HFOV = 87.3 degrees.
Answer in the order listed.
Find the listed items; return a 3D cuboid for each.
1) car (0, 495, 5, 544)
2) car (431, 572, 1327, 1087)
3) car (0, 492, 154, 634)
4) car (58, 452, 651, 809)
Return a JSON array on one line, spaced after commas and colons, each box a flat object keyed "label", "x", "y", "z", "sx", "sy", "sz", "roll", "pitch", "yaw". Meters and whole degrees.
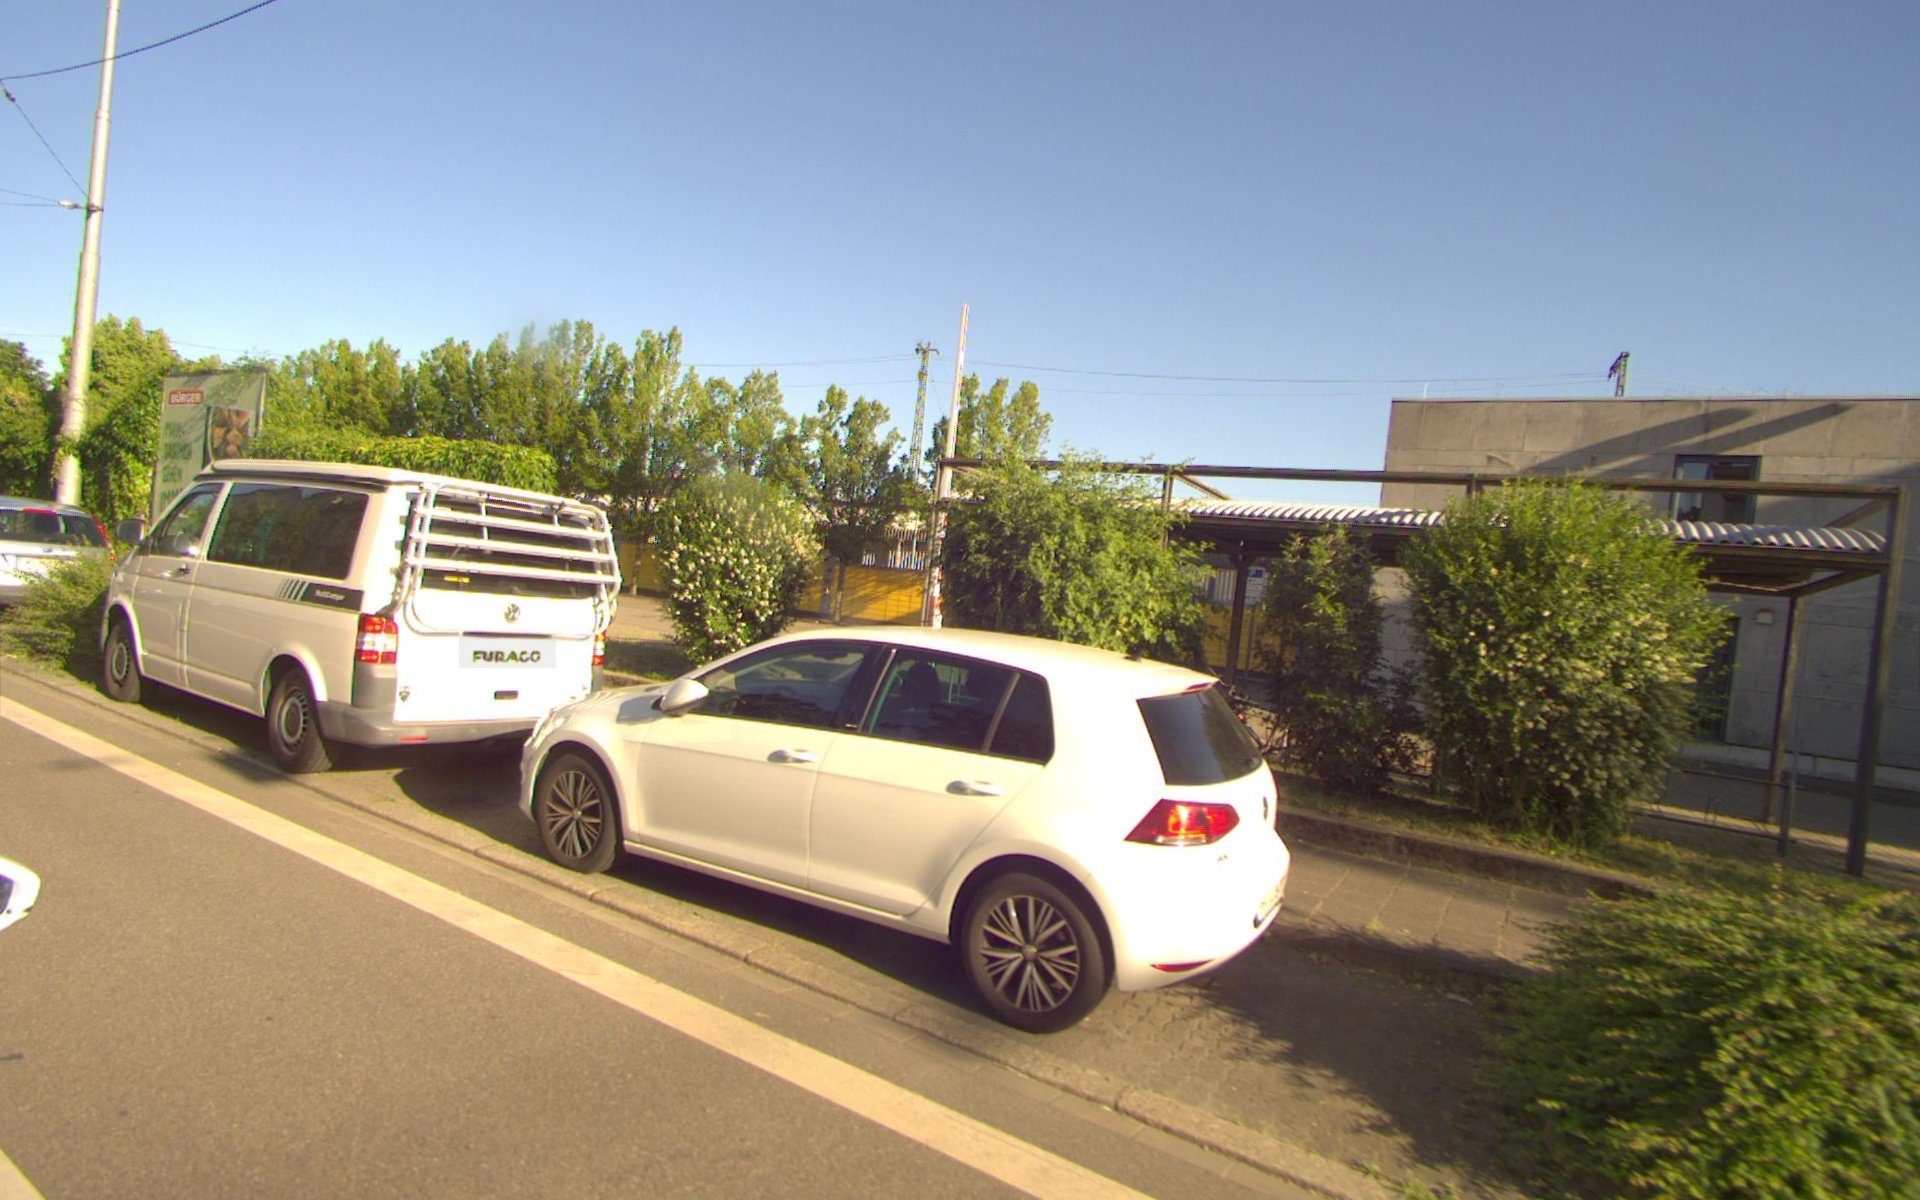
[{"label": "car", "x": -16.166, "y": -1.026, "z": 14.888, "sx": 4.526, "sy": 1.502, "sz": 1.827, "roll": 6, "pitch": -1, "yaw": 32}, {"label": "car", "x": -0.599, "y": 0.791, "z": 5.275, "sx": 4.426, "sy": 1.436, "sz": 1.677, "roll": 6, "pitch": 2, "yaw": 30}, {"label": "car", "x": -12.044, "y": -0.576, "z": 12.556, "sx": 4.009, "sy": 1.490, "sz": 1.875, "roll": 6, "pitch": -1, "yaw": 33}, {"label": "car", "x": -4.979, "y": 0.030, "z": 7.952, "sx": 5.157, "sy": 2.016, "sz": 1.855, "roll": 6, "pitch": 0, "yaw": 33}]
